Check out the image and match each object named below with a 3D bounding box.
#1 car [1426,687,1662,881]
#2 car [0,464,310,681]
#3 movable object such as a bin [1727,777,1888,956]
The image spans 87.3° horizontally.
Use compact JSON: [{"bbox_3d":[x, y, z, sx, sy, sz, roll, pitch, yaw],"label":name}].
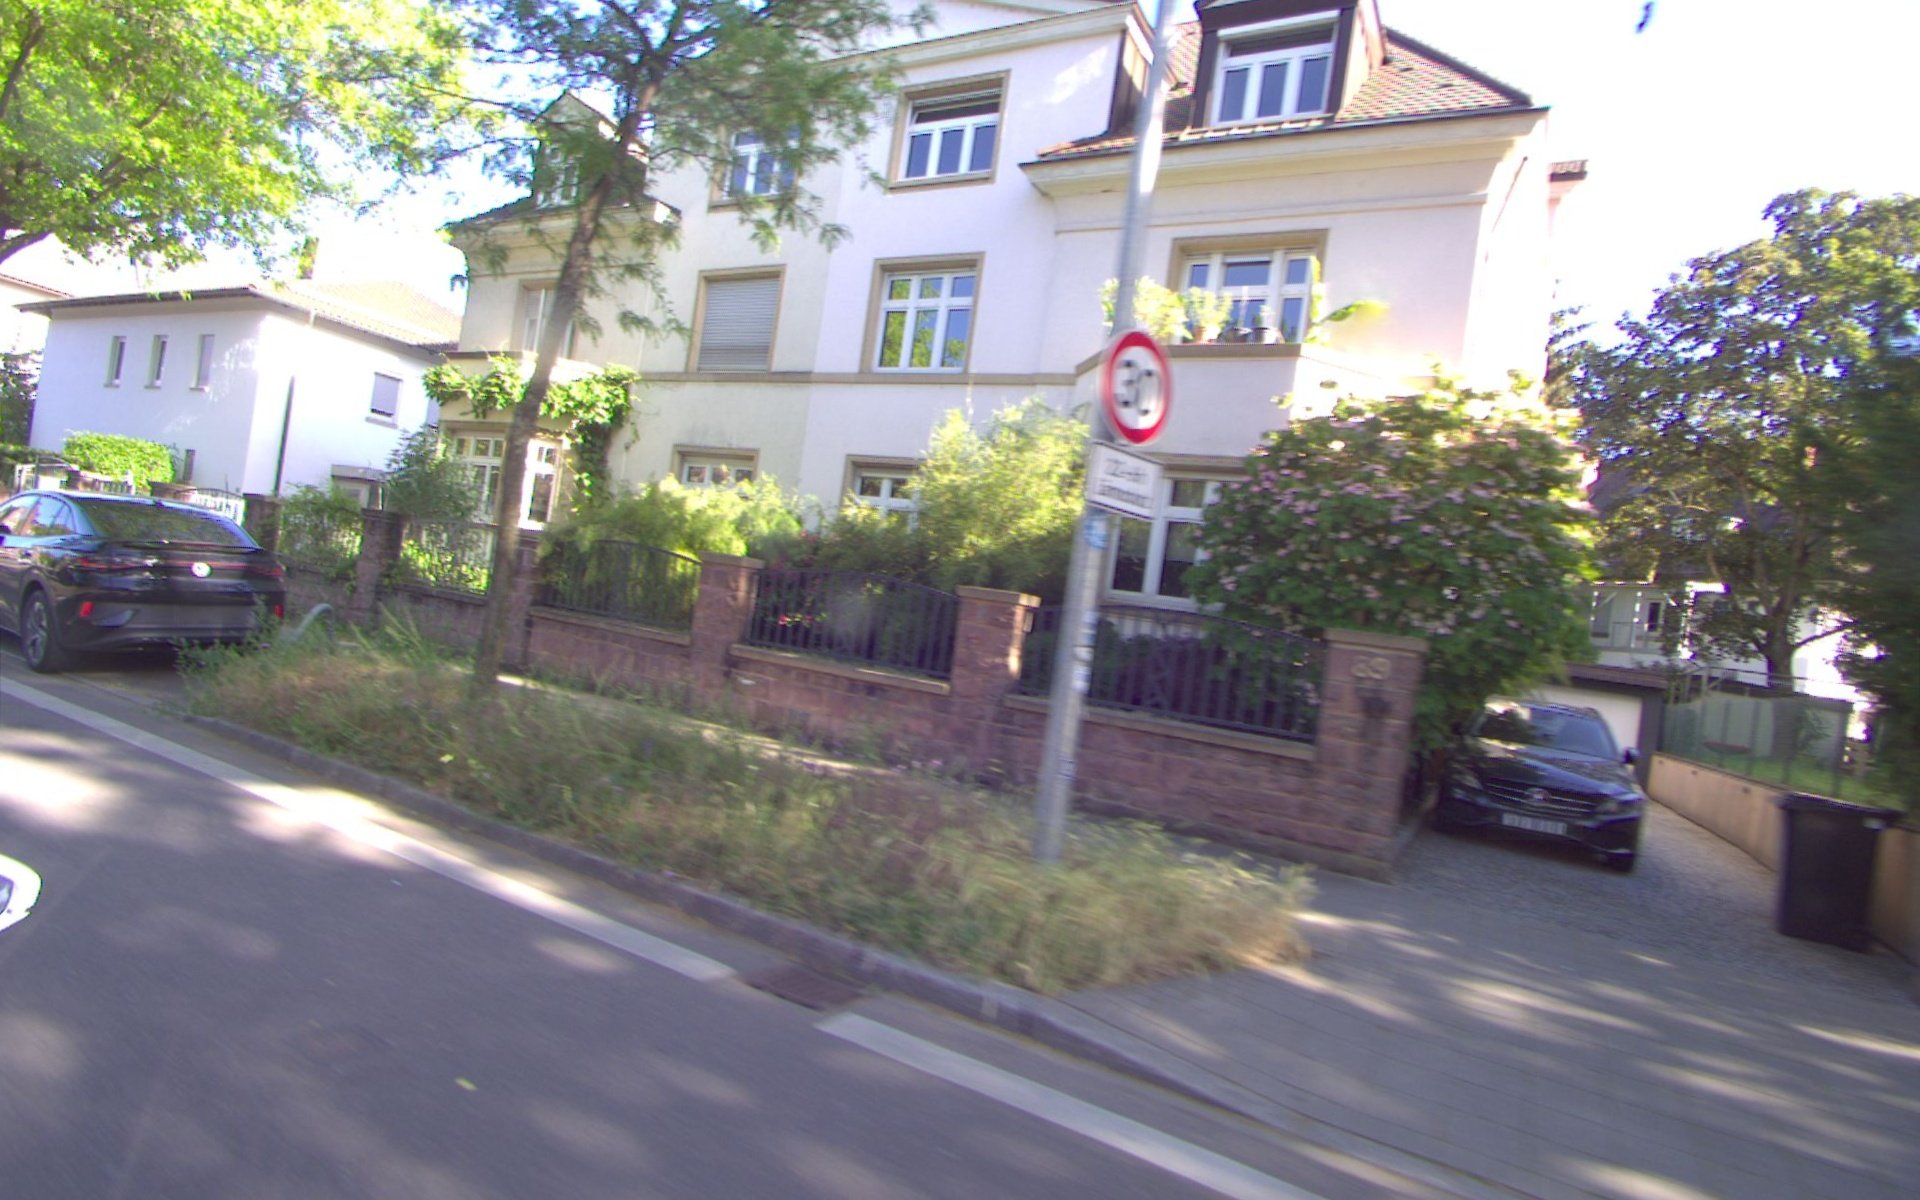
[{"bbox_3d":[6.304,1.838,11.043,1.727,1.444,3.996,8,-1,29],"label":"car"},{"bbox_3d":[-8.932,-0.414,10.421,4.650,1.717,1.805,8,3,32],"label":"car"},{"bbox_3d":[6.507,2.010,7.770,0.718,1.111,0.748,8,0,31],"label":"movable object such as a bin"}]
